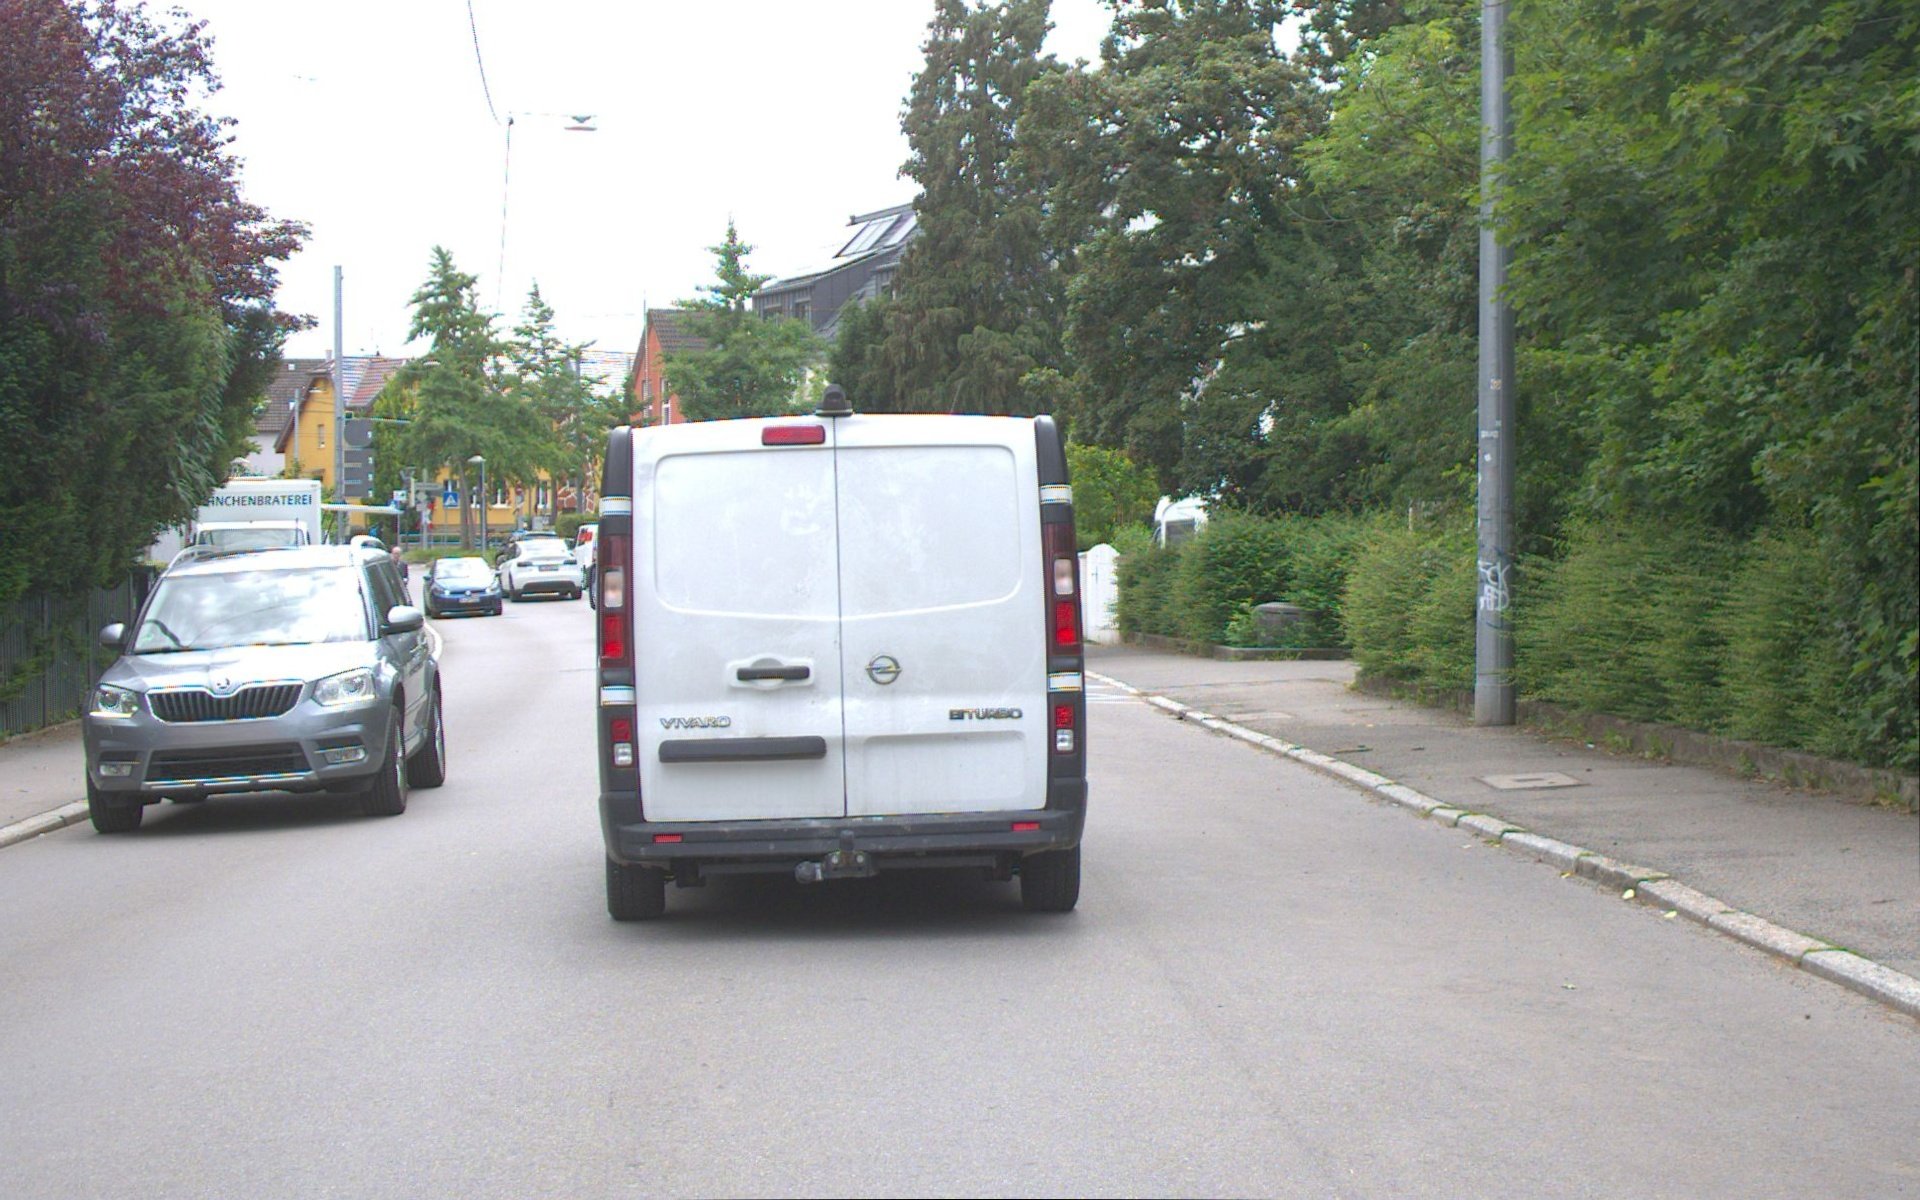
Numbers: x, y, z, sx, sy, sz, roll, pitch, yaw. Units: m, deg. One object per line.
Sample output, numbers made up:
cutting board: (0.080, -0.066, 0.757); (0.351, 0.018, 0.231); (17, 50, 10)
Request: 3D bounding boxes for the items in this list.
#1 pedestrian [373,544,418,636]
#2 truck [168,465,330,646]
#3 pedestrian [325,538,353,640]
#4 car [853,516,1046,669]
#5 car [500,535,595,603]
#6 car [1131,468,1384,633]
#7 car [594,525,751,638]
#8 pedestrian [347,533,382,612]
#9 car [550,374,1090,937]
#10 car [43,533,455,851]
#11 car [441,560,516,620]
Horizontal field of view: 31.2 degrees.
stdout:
pedestrian: (-10.456, -0.190, 63.694); (0.722, 1.681, 1.109); (2, 0, -6)
truck: (-11.831, -0.734, 57.227); (2.472, 2.831, 6.709); (0, 1, -12)
pedestrian: (-10.428, -0.188, 57.752); (0.401, 1.689, 0.597); (2, 0, -12)
car: (-0.207, -0.112, 44.209); (1.908, 1.842, 5.159); (0, 1, -7)
car: (-11.345, -0.863, 94.357); (1.993, 1.776, 4.001); (-2, 1, -15)
car: (5.122, -0.856, 60.068); (2.496, 2.673, 5.188); (2, 0, -18)
car: (-5.011, -0.343, 59.397); (1.993, 1.842, 4.001); (-1, 1, -15)
pedestrian: (-14.833, -0.683, 85.702); (0.733, 1.939, 1.218); (2, 0, -6)
car: (-0.659, 0.174, 14.610); (1.915, 1.996, 4.438); (-1, 1, -4)
car: (-4.222, 0.491, 21.037); (1.840, 1.650, 4.139); (-3, 1, -4)
car: (-12.017, -0.251, 86.017); (1.693, 1.427, 3.928); (2, 0, -6)
